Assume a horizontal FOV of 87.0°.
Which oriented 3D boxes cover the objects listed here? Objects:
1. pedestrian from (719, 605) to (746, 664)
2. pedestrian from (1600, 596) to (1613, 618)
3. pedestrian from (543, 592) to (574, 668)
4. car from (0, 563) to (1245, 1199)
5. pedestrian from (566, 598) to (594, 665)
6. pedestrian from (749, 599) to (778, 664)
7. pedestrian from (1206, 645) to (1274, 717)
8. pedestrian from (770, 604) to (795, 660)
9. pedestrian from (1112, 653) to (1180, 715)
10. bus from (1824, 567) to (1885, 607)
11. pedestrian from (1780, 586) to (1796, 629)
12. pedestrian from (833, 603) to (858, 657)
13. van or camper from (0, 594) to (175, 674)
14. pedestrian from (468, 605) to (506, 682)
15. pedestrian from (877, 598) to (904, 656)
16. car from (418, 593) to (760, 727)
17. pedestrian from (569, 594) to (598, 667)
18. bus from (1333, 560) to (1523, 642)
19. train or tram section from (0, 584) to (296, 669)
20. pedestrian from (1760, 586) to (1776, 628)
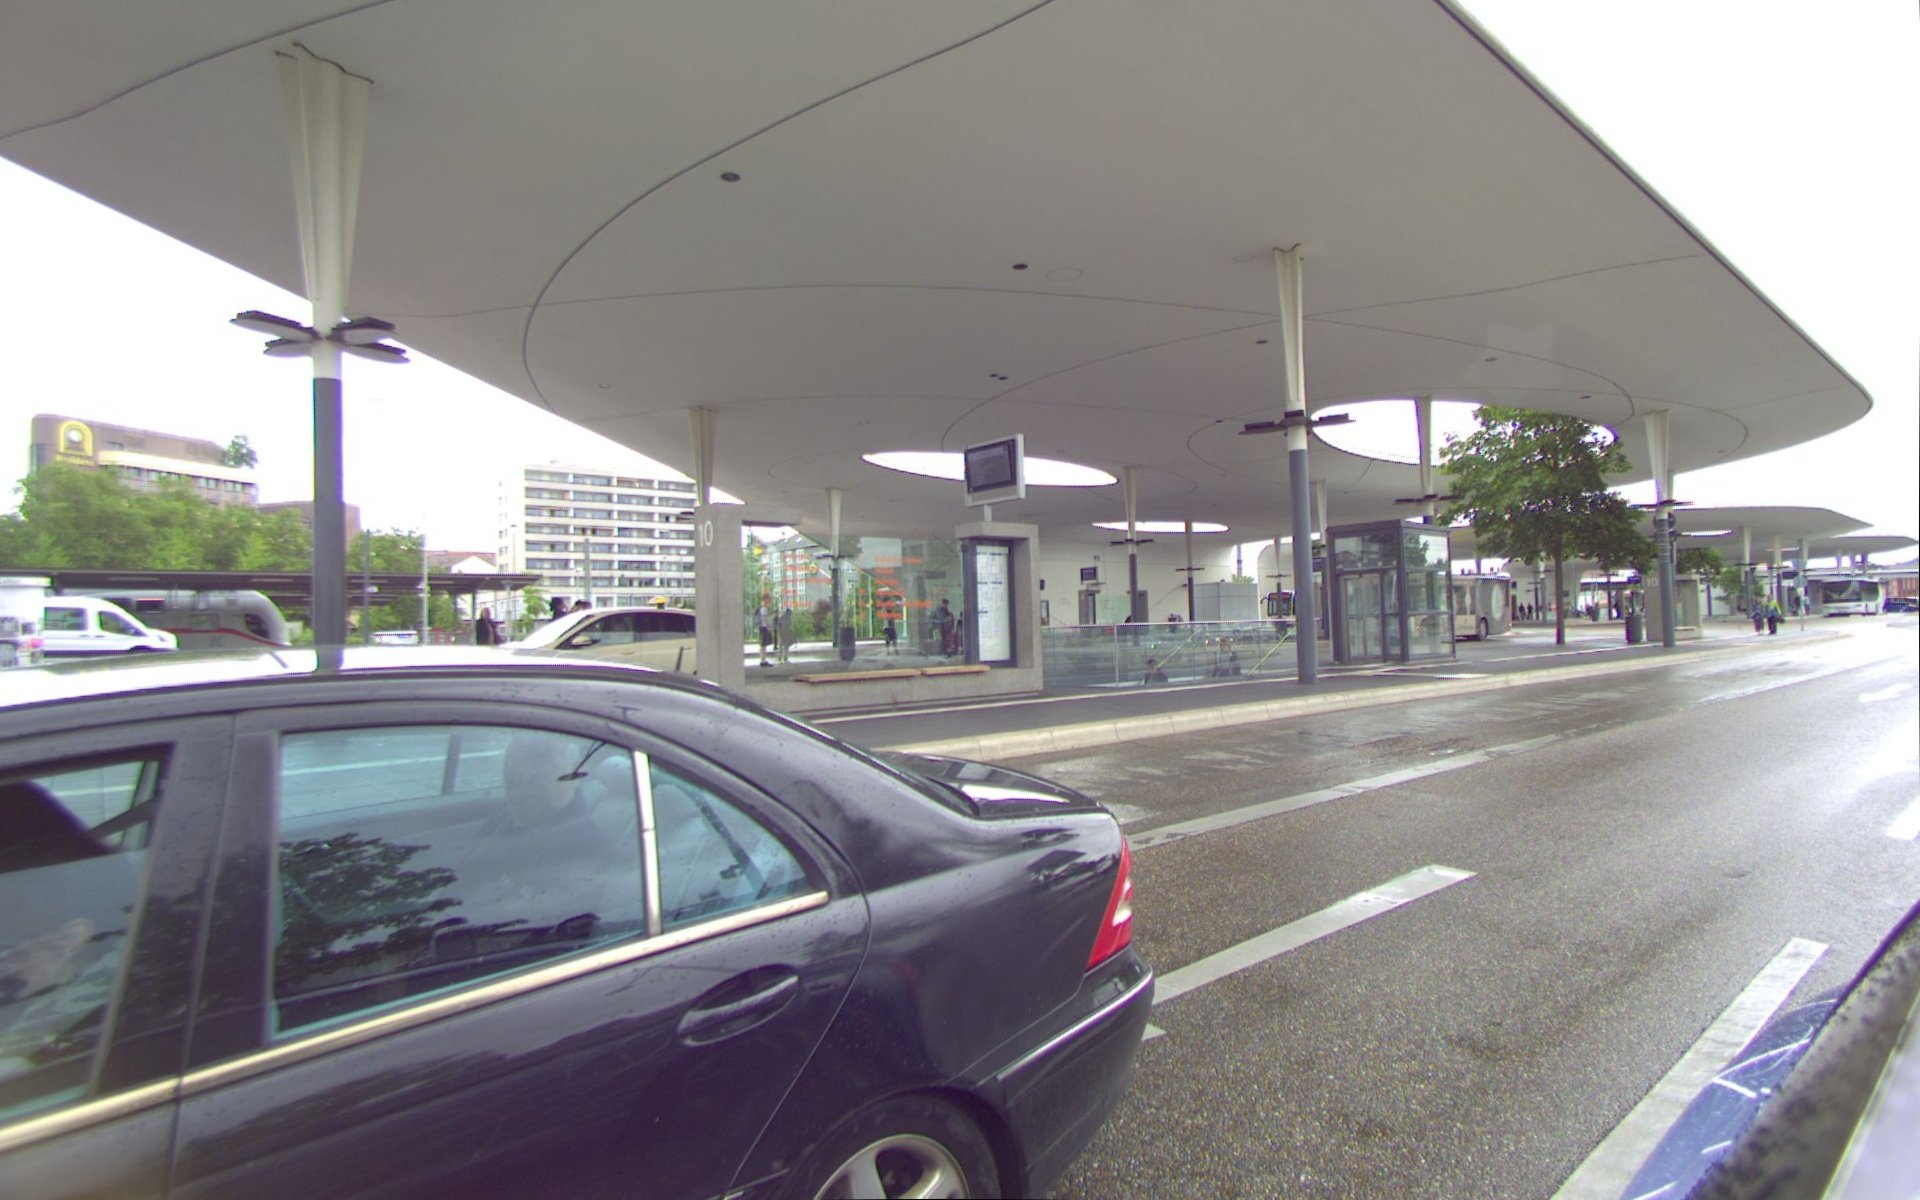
[{"bbox_3d":[-6.092,0.914,27.084,0.556,1.533,0.479,0,-1,-37],"label":"pedestrian"},{"bbox_3d":[59.988,0.674,93.900,1.019,2.039,0.869,0,0,36],"label":"pedestrian"},{"bbox_3d":[-8.229,0.607,20.729,0.470,1.533,0.535,0,-1,-36],"label":"pedestrian"},{"bbox_3d":[-1.475,0.699,1.768,4.374,1.484,1.697,-1,1,-41],"label":"car"},{"bbox_3d":[-8.831,0.720,23.534,0.469,1.533,0.535,0,-1,-6],"label":"pedestrian"},{"bbox_3d":[-4.750,0.748,24.408,0.525,1.533,0.479,0,-1,-37],"label":"pedestrian"},{"bbox_3d":[5.441,1.548,19.688,0.940,1.291,0.882,0,0,-37],"label":"pedestrian"},{"bbox_3d":[-4.969,0.889,28.364,0.515,1.533,0.479,0,-1,-37],"label":"pedestrian"},{"bbox_3d":[3.588,1.597,19.517,0.940,1.068,0.882,0,0,-37],"label":"pedestrian"},{"bbox_3d":[75.934,-1.052,86.084,3.569,3.138,10.596,-1,-1,40],"label":"bus"},{"bbox_3d":[34.974,0.316,42.743,0.444,1.786,0.529,-1,-1,43],"label":"pedestrian"},{"bbox_3d":[-3.283,0.861,29.025,0.515,1.533,0.479,0,-1,-37],"label":"pedestrian"},{"bbox_3d":[-29.581,1.062,33.379,5.761,2.464,1.997,-1,0,-41],"label":"van or camper"},{"bbox_3d":[-10.261,0.926,21.955,0.725,1.615,0.643,0,0,-26],"label":"pedestrian"},{"bbox_3d":[-1.848,0.706,26.977,0.525,1.533,0.479,0,-1,-37],"label":"pedestrian"},{"bbox_3d":[-5.495,0.754,15.296,4.462,1.702,1.997,-1,1,-41],"label":"car"},{"bbox_3d":[-8.071,0.639,21.693,0.470,1.533,0.535,0,-1,-36],"label":"pedestrian"},{"bbox_3d":[20.448,-0.042,43.683,11.713,3.121,2.874,-1,1,-41],"label":"bus"},{"bbox_3d":[-50.585,1.328,50.584,28.796,4.234,4.599,-1,1,-41],"label":"train or tram section"},{"bbox_3d":[34.501,0.302,43.211,0.444,1.786,0.529,-1,-1,43],"label":"pedestrian"}]
